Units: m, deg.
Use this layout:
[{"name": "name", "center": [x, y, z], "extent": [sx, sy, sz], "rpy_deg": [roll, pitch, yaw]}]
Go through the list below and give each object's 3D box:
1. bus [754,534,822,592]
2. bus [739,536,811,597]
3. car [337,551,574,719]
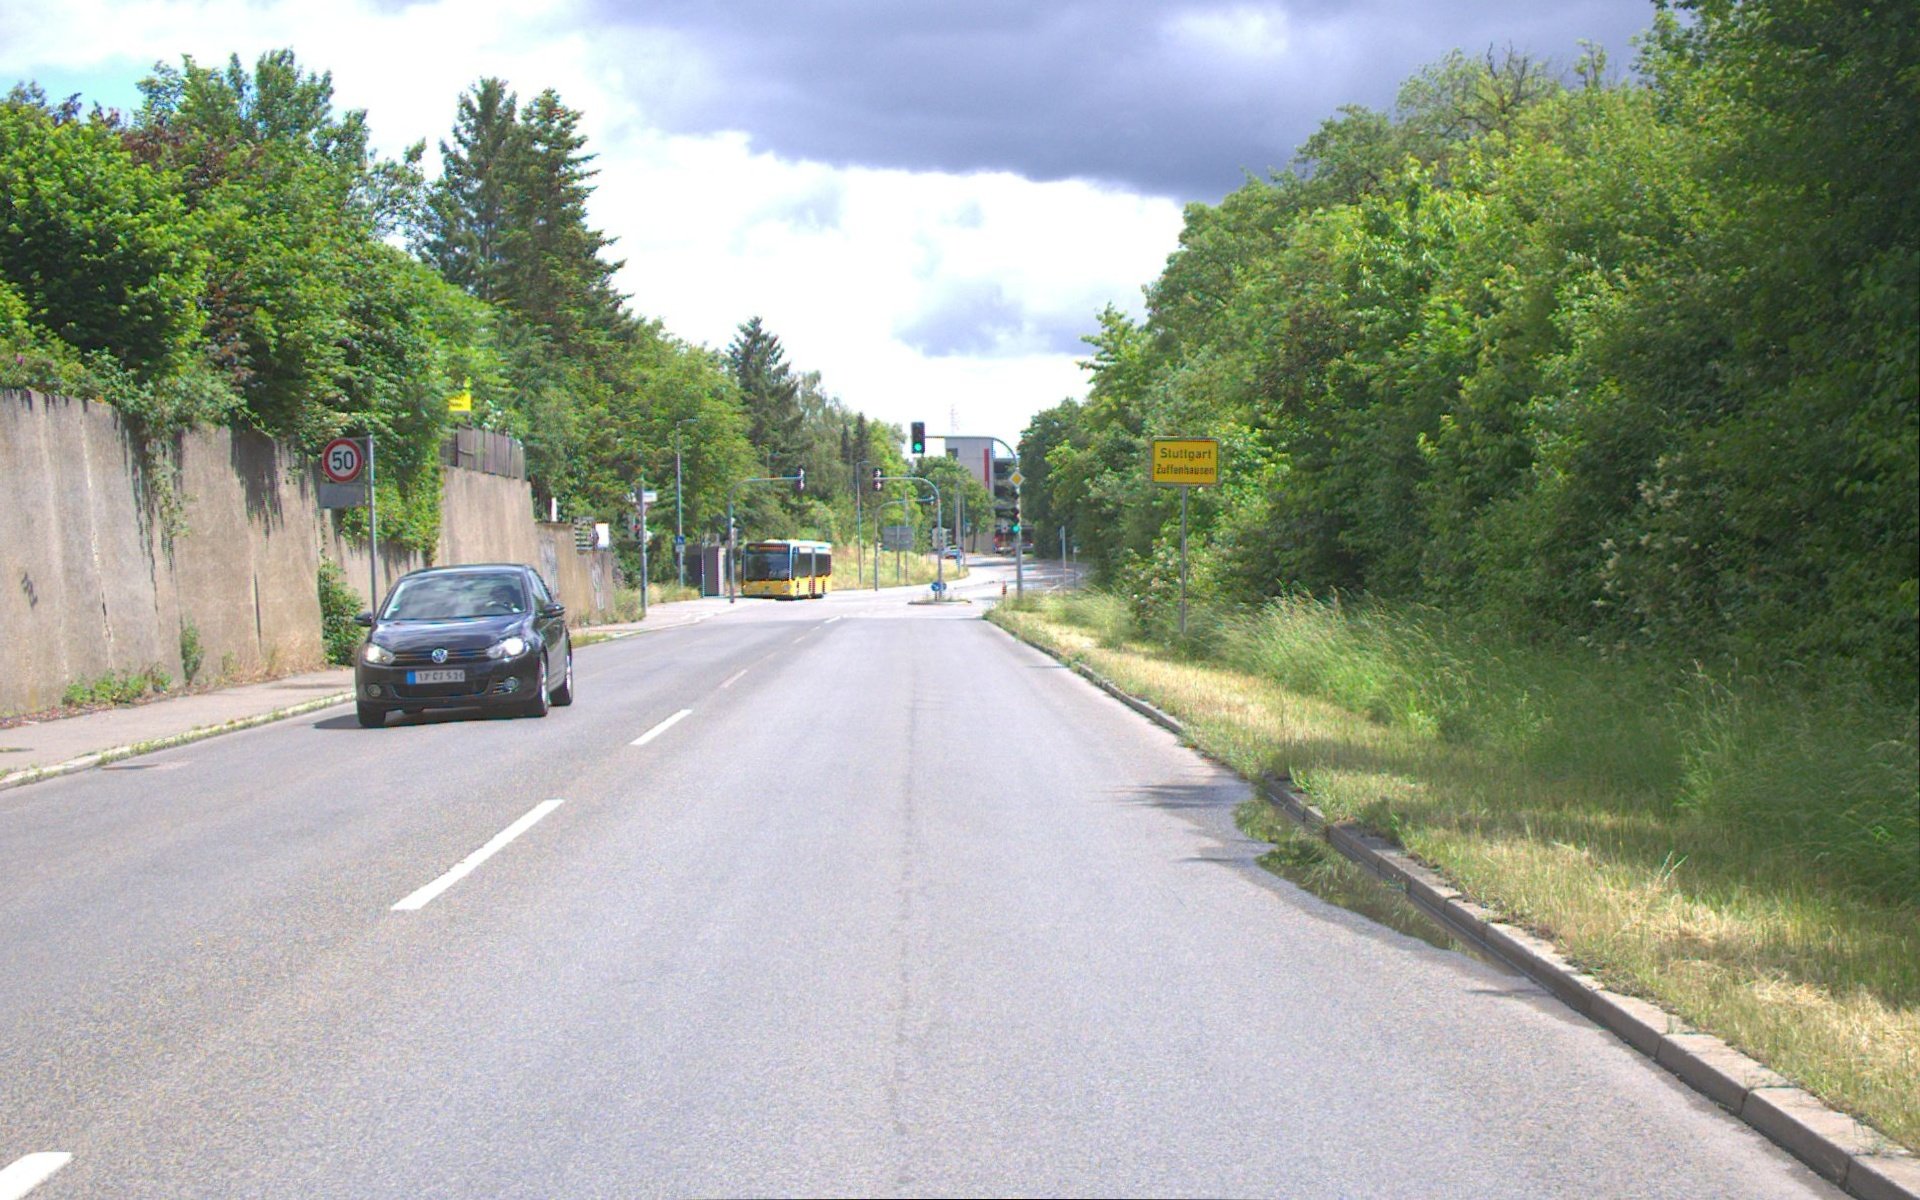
[{"name": "bus", "center": [-9.126, -2.002, 183.352], "extent": [2.895, 2.889, 7.667], "rpy_deg": [1, 2, 3]}, {"name": "bus", "center": [-9.395, -1.758, 175.624], "extent": [2.895, 2.889, 7.667], "rpy_deg": [1, 2, 3]}, {"name": "car", "center": [-4.804, 0.288, 33.241], "extent": [1.751, 1.459, 4.000], "rpy_deg": [-2, 1, -1]}]
